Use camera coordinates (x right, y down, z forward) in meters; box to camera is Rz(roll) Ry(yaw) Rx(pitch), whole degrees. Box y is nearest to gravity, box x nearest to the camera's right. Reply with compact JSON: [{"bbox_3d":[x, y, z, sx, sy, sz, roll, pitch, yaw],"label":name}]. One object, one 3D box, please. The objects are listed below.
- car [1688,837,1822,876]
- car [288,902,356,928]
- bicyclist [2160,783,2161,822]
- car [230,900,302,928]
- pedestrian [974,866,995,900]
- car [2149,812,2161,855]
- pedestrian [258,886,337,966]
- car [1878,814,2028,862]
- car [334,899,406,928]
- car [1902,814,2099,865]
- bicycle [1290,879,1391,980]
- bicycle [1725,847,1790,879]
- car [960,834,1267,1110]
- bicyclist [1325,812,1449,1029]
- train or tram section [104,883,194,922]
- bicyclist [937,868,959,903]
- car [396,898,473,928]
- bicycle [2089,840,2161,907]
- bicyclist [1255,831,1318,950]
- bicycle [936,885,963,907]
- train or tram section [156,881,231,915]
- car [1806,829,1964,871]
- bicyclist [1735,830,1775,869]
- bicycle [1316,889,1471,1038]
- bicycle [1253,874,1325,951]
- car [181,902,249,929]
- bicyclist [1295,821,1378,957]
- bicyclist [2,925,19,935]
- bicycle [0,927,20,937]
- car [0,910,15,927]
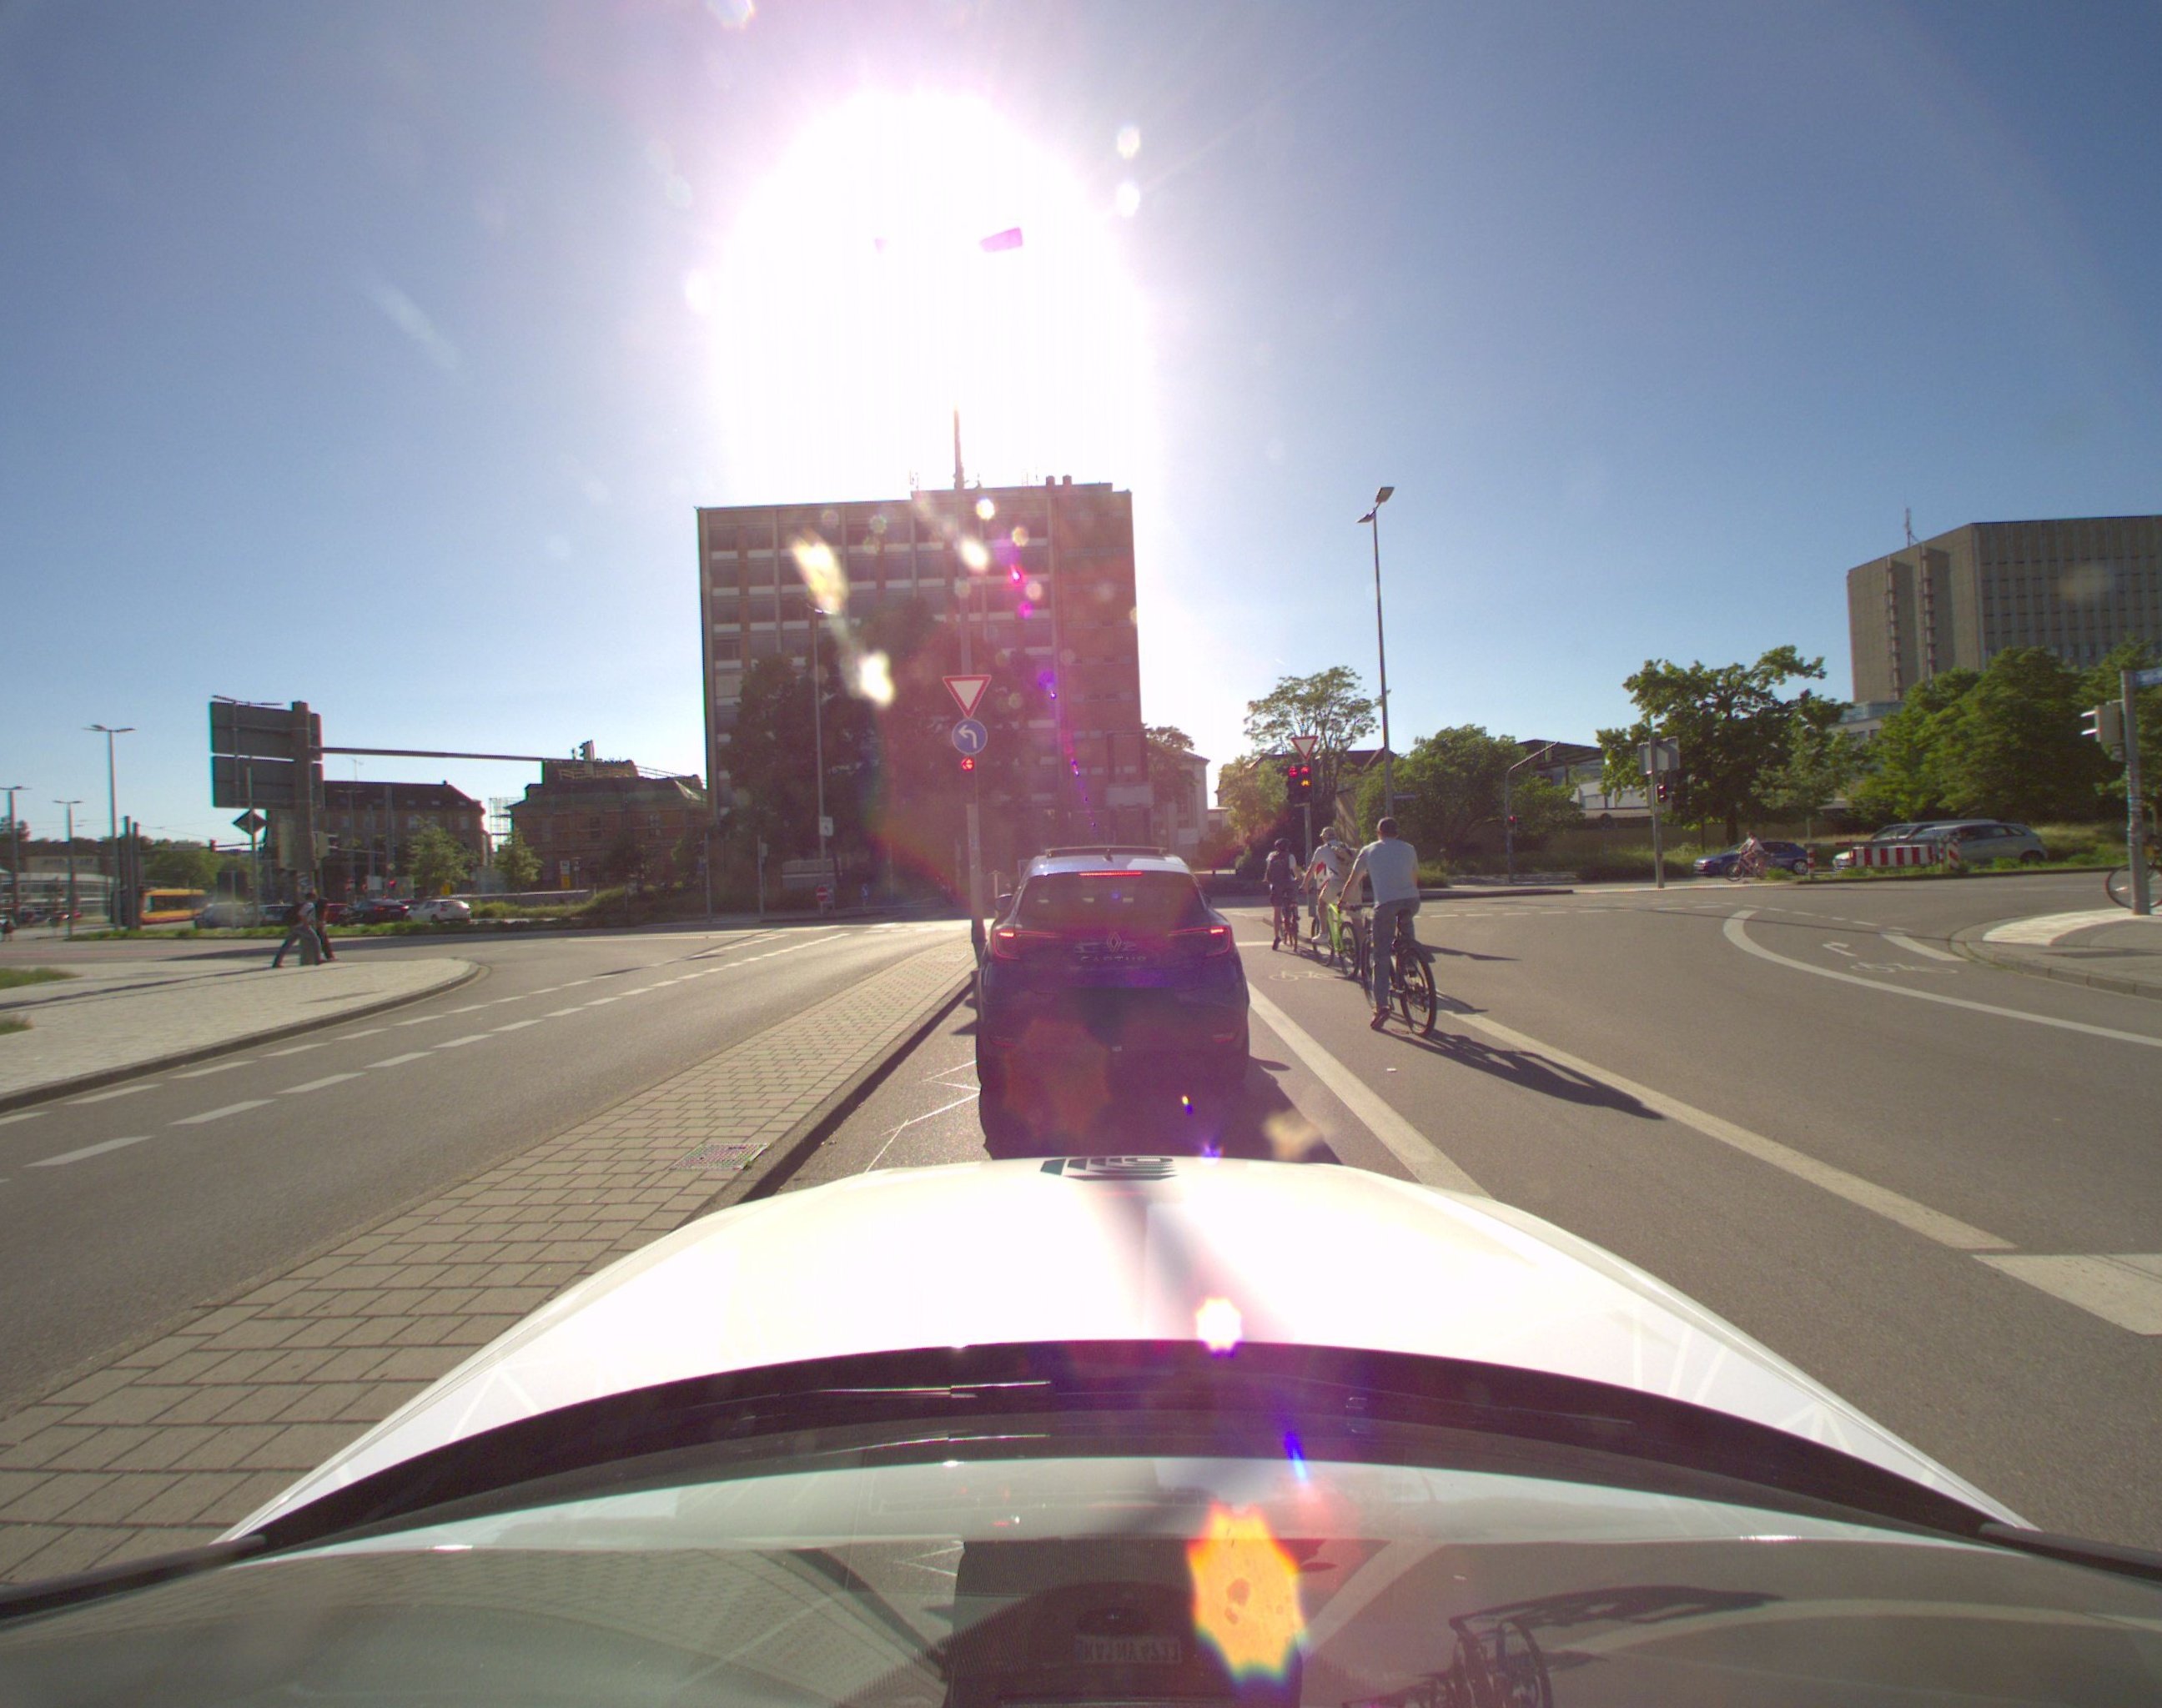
[{"bbox_3d":[28.135,0.105,34.111,3.965,1.398,1.798,-3,-1,7],"label":"car"},{"bbox_3d":[-48.206,3.869,51.717,3.834,1.508,1.805,-3,-1,25],"label":"car"},{"bbox_3d":[16.025,-0.226,11.478,0.635,1.646,0.903,-2,-1,-39],"label":"bicyclist"},{"bbox_3d":[-48.863,3.604,48.813,3.834,1.508,1.805,-3,-1,25],"label":"car"},{"bbox_3d":[-5.365,1.596,45.309,0.807,1.862,0.913,-3,-1,15],"label":"pedestrian"},{"bbox_3d":[36.901,-0.763,25.335,4.534,1.398,1.798,-3,-1,7],"label":"car"},{"bbox_3d":[-17.934,1.620,18.660,0.647,1.730,1.066,-3,-1,15],"label":"pedestrian"},{"bbox_3d":[35.871,-0.619,33.612,3.965,1.749,1.798,-3,-1,7],"label":"car"},{"bbox_3d":[-42.550,3.563,48.748,3.834,1.508,1.805,-3,-1,25],"label":"car"},{"bbox_3d":[29.220,-0.434,26.006,3.965,1.398,1.798,-3,-1,7],"label":"car"},{"bbox_3d":[3.204,0.892,10.228,0.687,1.089,1.923,-1,0,2],"label":"bicycle"},{"bbox_3d":[24.111,0.322,29.044,1.673,1.033,0.612,-2,-1,7],"label":"bicycle"},{"bbox_3d":[0.196,0.705,6.772,1.783,1.585,3.913,-1,0,0],"label":"car"},{"bbox_3d":[2.724,0.558,7.378,0.680,1.791,1.142,-1,-1,2],"label":"bicyclist"},{"bbox_3d":[-90.183,4.567,79.041,2.710,3.232,10.495,0,-1,-31],"label":"train or tram section"},{"bbox_3d":[-6.702,1.580,41.172,0.751,1.716,1.001,-2,-1,7],"label":"bicyclist"},{"bbox_3d":[-36.394,3.336,45.843,3.834,1.508,1.805,-3,-1,25],"label":"car"},{"bbox_3d":[15.914,0.268,11.631,0.640,0.958,1.866,-2,-1,-39],"label":"bicycle"},{"bbox_3d":[3.258,0.558,12.994,0.697,1.791,1.142,-1,-1,2],"label":"bicyclist"},{"bbox_3d":[-6.650,2.133,41.388,0.751,0.985,2.098,-2,0,8],"label":"bicycle"},{"bbox_3d":[-95.682,4.680,88.014,2.710,3.232,10.495,0,-1,-31],"label":"train or tram section"},{"bbox_3d":[30.296,-0.137,30.797,3.965,1.398,1.798,-3,-1,7],"label":"car"},{"bbox_3d":[24.035,-0.160,29.056,0.870,1.343,0.612,-2,-1,7],"label":"bicyclist"},{"bbox_3d":[2.729,0.899,7.347,0.687,1.089,1.923,-1,0,2],"label":"bicycle"},{"bbox_3d":[3.262,0.880,12.925,0.687,1.089,1.923,-1,0,2],"label":"bicycle"},{"bbox_3d":[-54.912,3.891,51.646,3.834,1.508,1.805,-3,-1,25],"label":"car"},{"bbox_3d":[3.182,0.418,10.251,0.676,1.594,1.142,-1,-1,1],"label":"bicyclist"},{"bbox_3d":[-66.844,4.742,50.855,0.425,0.549,0.575,-3,-1,42],"label":"bicyclist"},{"bbox_3d":[-67.095,4.881,50.565,0.429,0.549,1.419,-3,-1,42],"label":"bicycle"},{"bbox_3d":[-112.123,6.718,84.058,1.753,1.651,3.952,-2,-1,-42],"label":"car"}]
